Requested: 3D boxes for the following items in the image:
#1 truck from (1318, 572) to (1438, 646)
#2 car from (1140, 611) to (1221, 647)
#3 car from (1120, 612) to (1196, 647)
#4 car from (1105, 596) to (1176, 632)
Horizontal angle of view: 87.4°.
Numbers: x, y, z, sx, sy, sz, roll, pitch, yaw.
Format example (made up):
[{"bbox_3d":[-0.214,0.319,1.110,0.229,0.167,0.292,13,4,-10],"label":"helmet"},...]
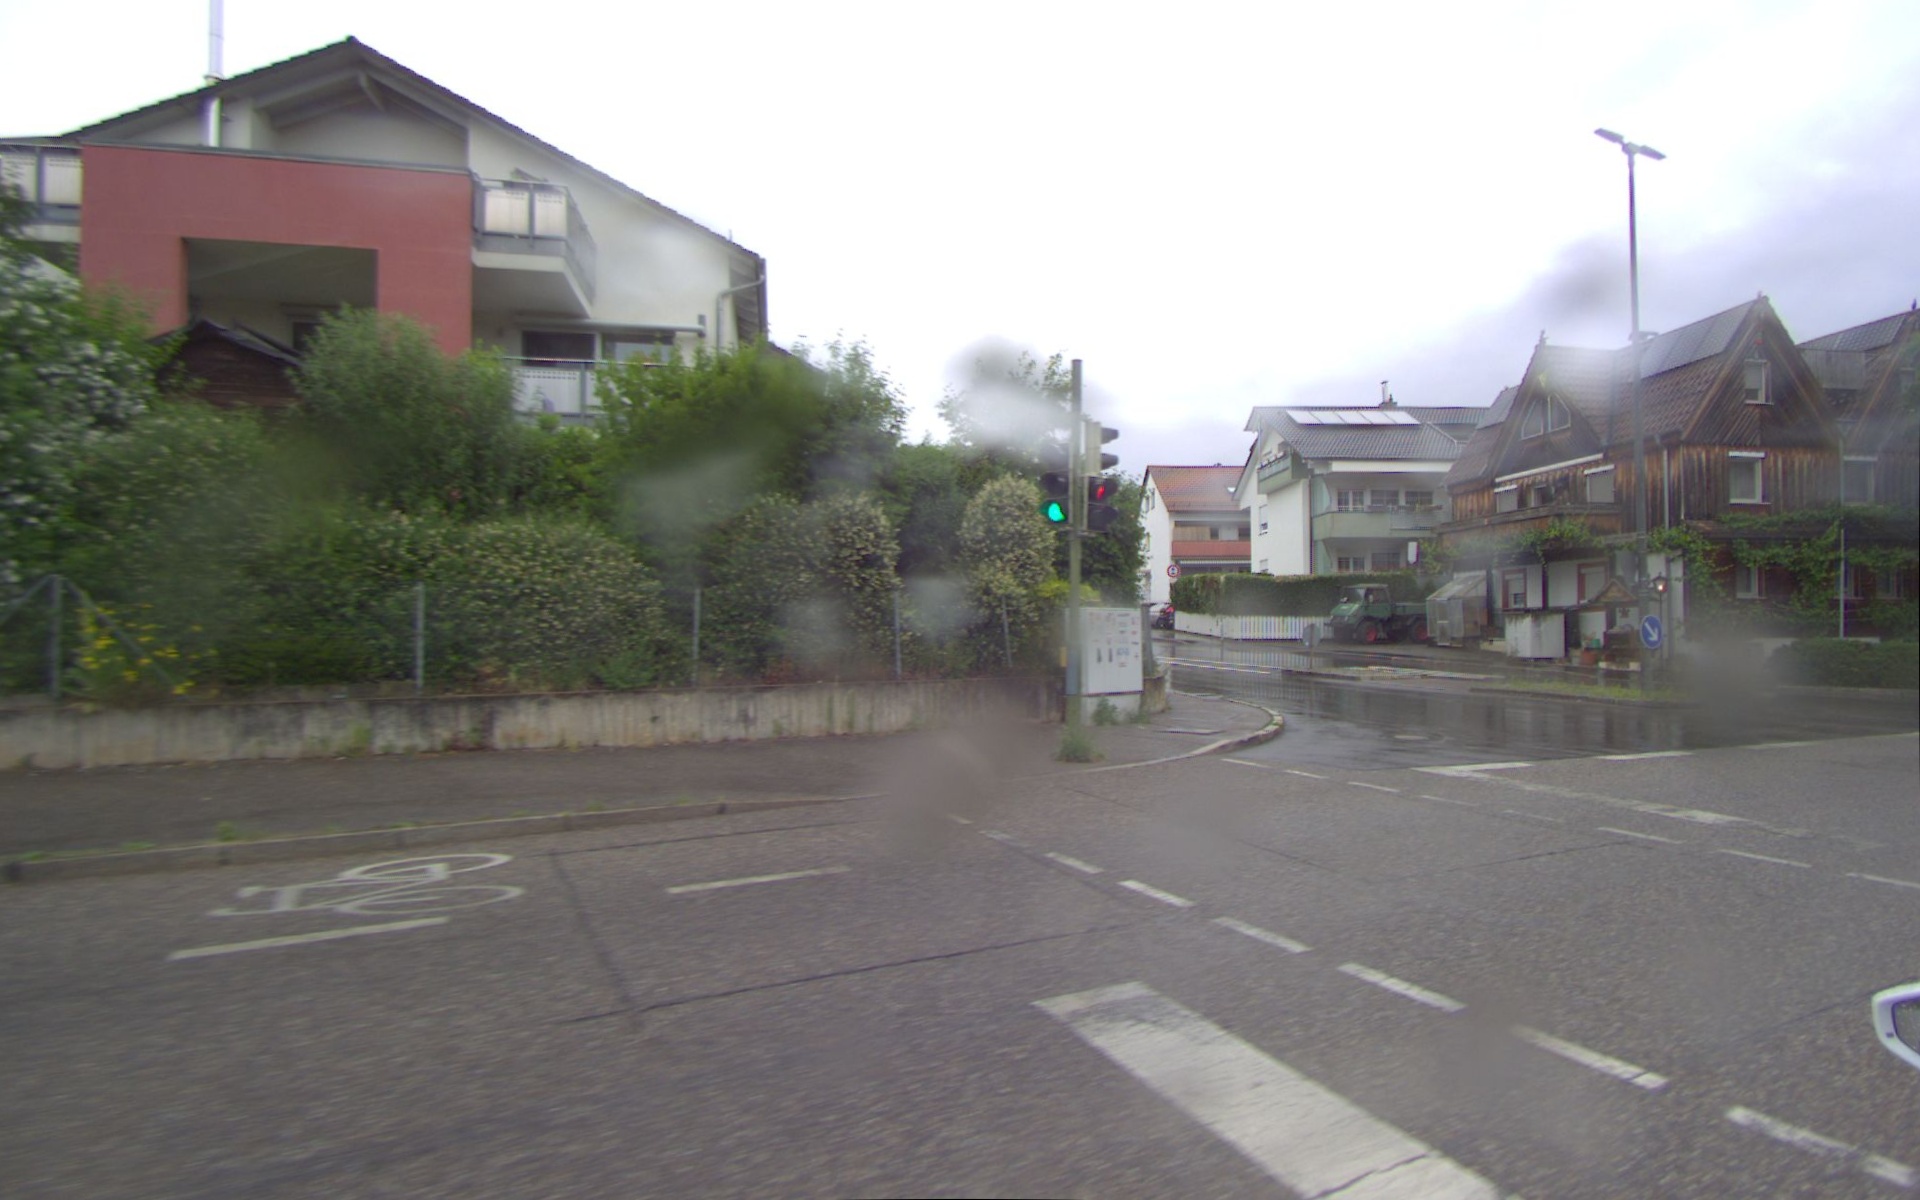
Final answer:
[{"bbox_3d":[15.559,0.366,37.467,3.778,2.647,1.778,1,-2,-12],"label":"truck"},{"bbox_3d":[11.576,1.519,52.945,3.919,1.837,2.001,0,-2,4],"label":"car"},{"bbox_3d":[10.957,1.649,55.732,3.919,1.862,2.001,0,-2,4],"label":"car"},{"bbox_3d":[10.615,0.806,59.380,3.919,2.040,2.001,1,0,4],"label":"car"}]
